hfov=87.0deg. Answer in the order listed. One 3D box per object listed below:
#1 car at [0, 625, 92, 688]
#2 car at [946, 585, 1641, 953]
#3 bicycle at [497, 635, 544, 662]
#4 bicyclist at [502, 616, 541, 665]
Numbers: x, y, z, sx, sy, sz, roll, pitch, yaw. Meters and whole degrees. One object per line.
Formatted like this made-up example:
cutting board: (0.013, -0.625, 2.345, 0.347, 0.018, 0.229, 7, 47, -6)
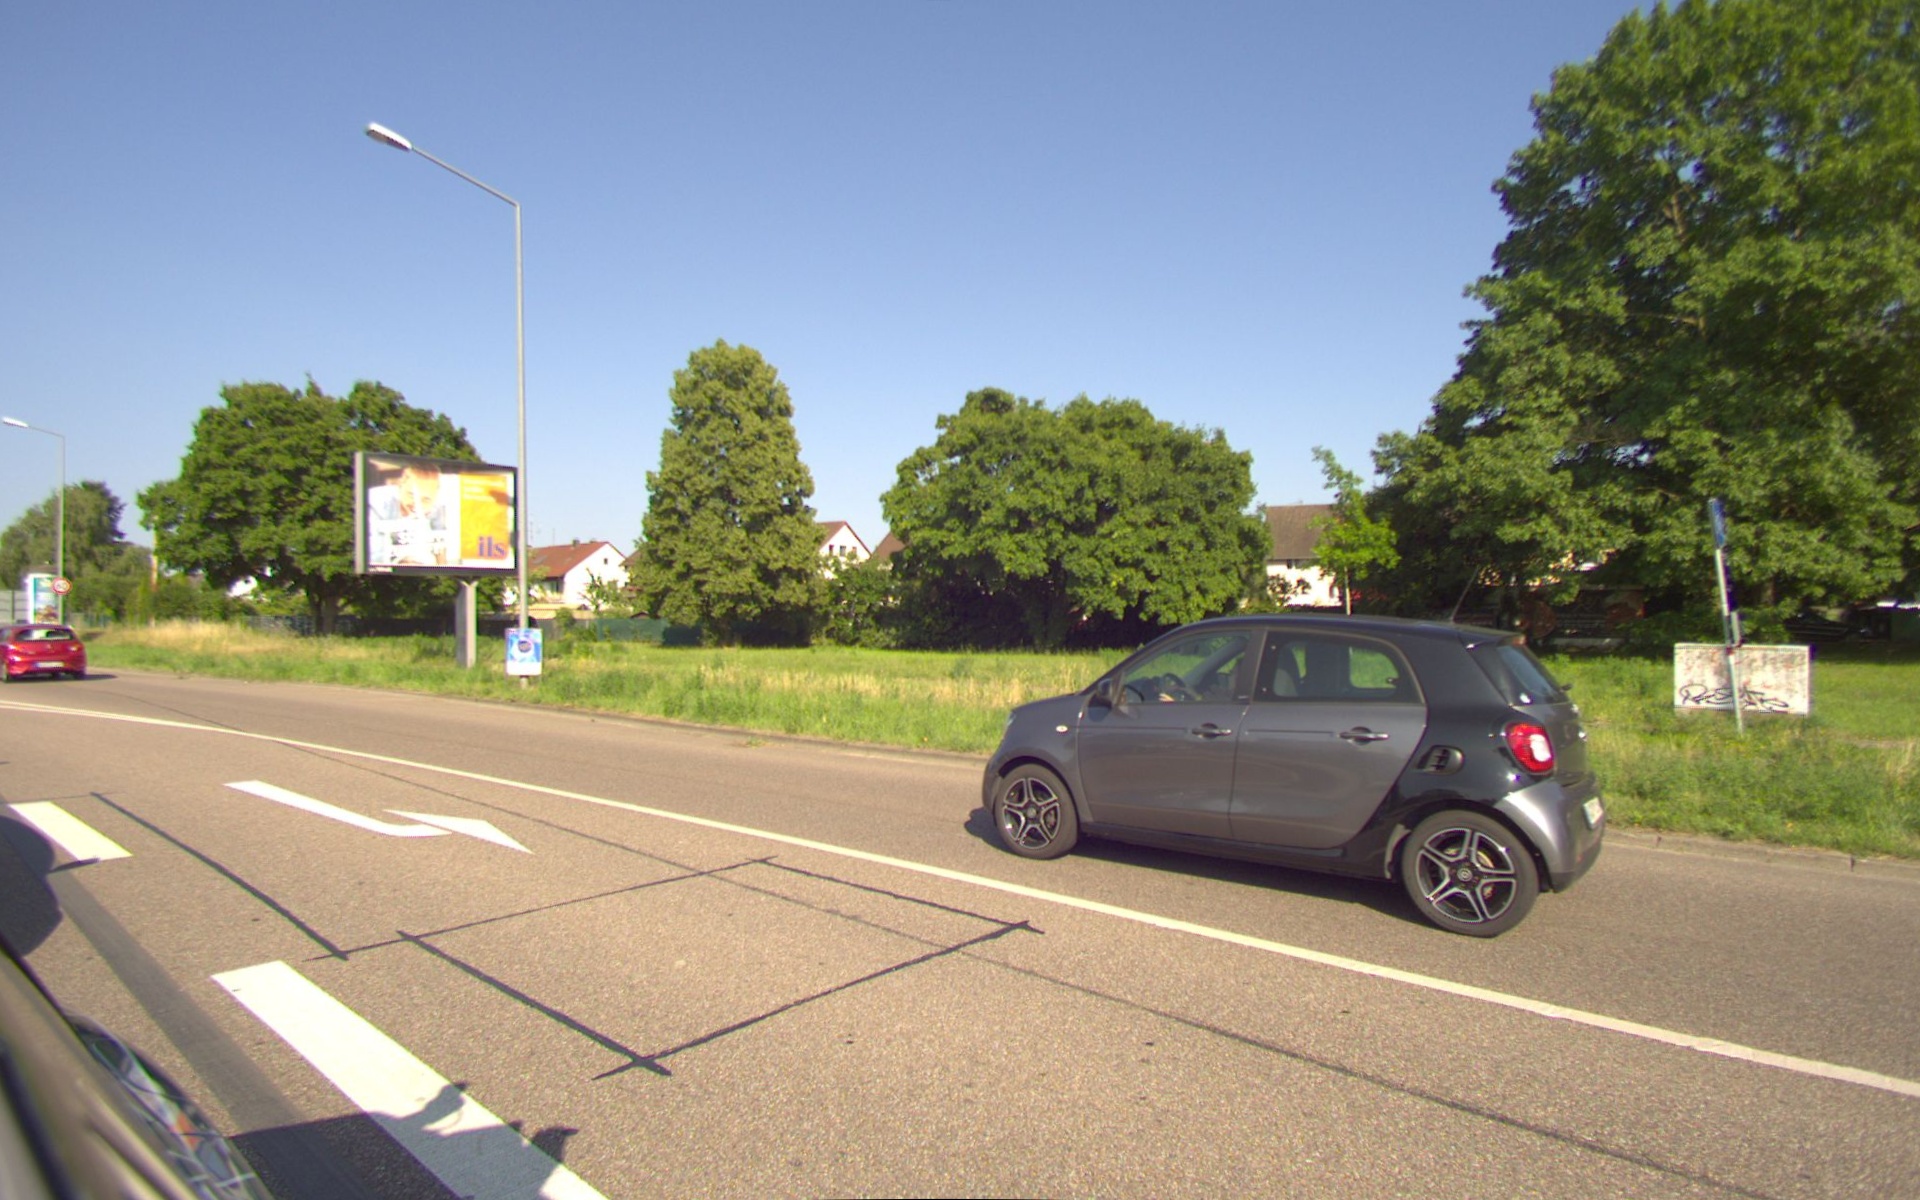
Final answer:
car: (-24.218, 1.418, 26.328, 3.669, 1.510, 1.679, -1, -2, 36)
car: (1.845, 0.782, 6.131, 3.671, 1.572, 1.617, -1, -3, 38)
bicycle: (-13.177, 1.439, 30.325, 1.831, 0.759, 0.450, -1, -1, 37)
bicyclist: (-13.143, 1.203, 30.330, 1.070, 1.439, 0.631, -1, -1, 37)
